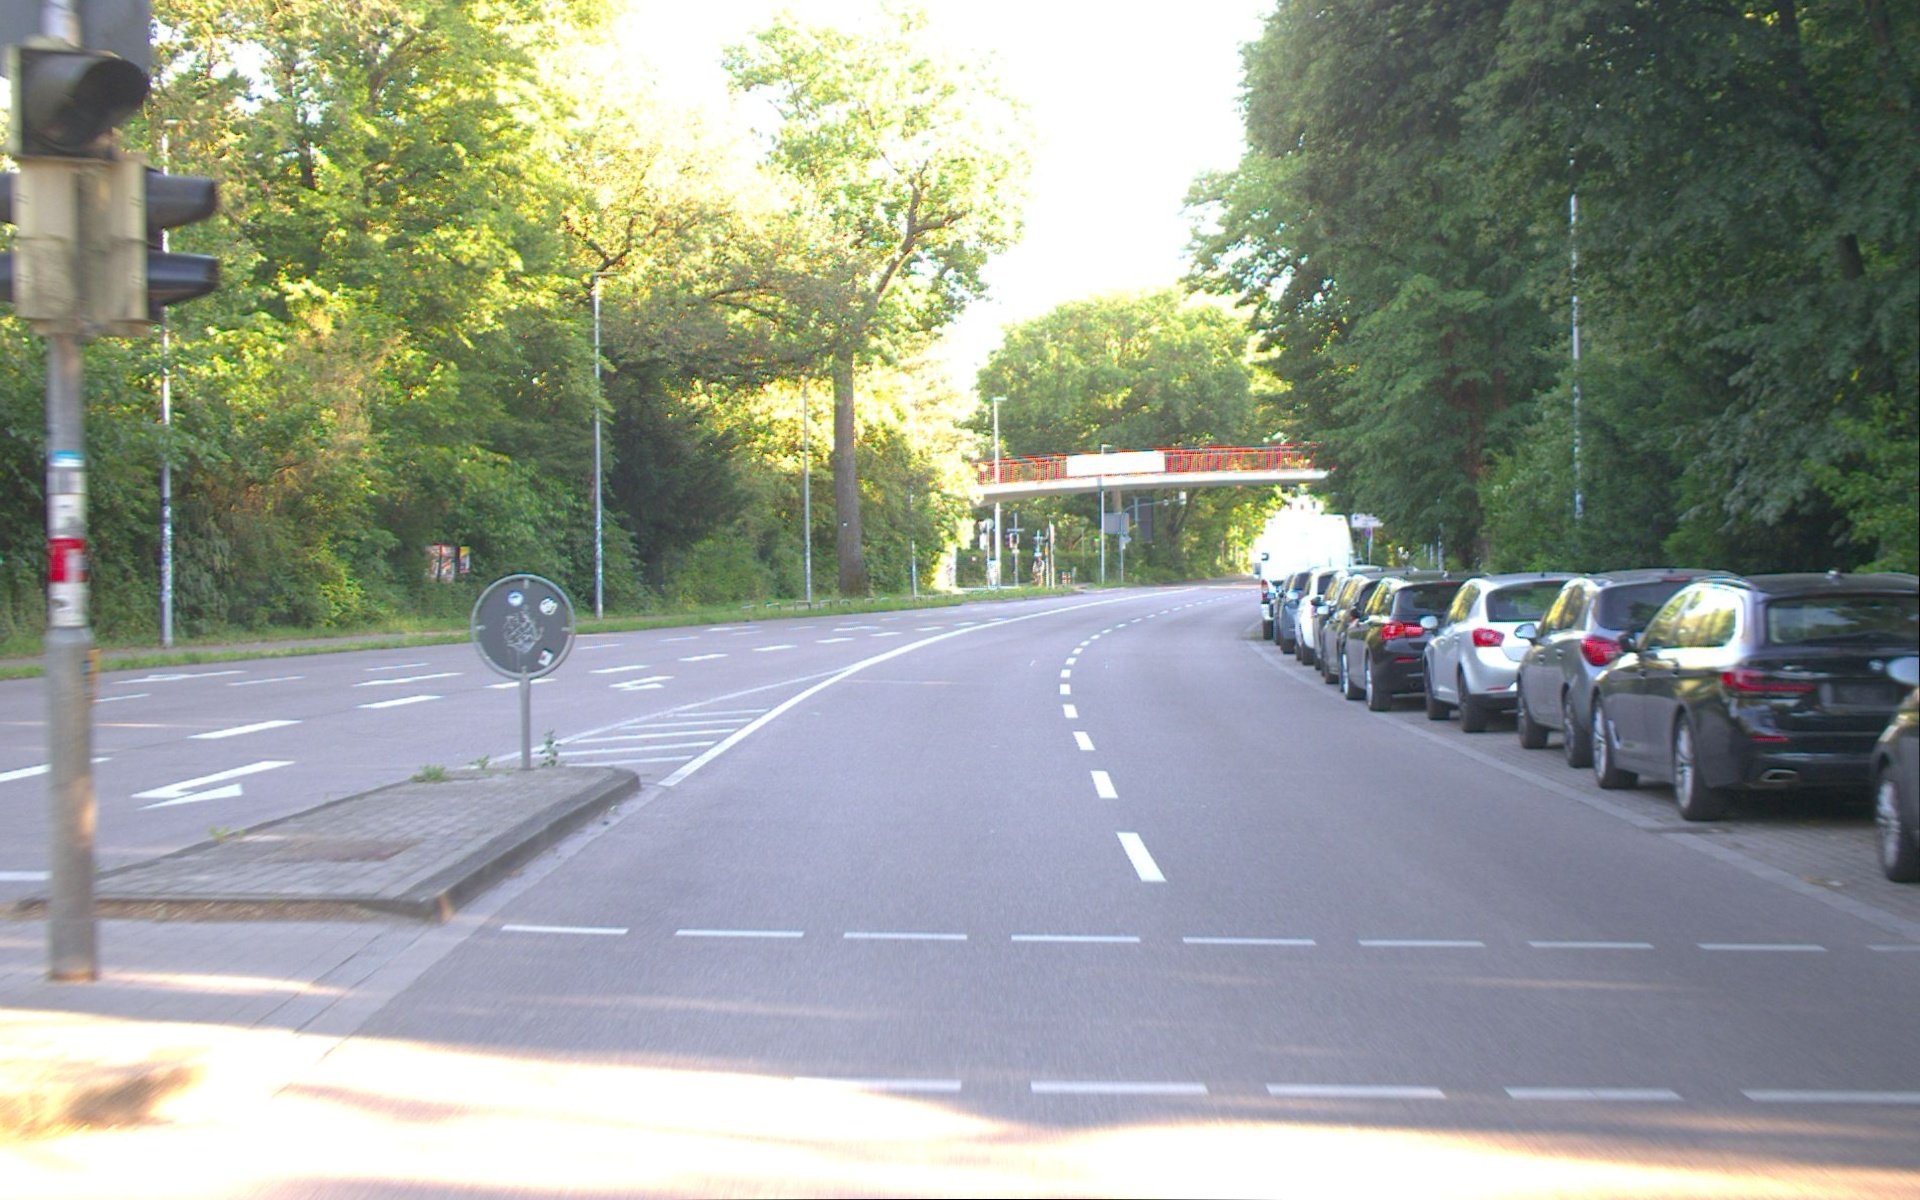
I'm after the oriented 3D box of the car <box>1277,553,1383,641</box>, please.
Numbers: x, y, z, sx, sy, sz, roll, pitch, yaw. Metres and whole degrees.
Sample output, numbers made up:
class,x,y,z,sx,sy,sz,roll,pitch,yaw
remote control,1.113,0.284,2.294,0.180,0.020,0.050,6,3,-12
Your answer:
class,x,y,z,sx,sy,sz,roll,pitch,yaw
car,6.401,-0.066,59.801,1.678,1.459,4.066,-1,0,4

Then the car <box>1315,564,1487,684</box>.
class,x,y,z,sx,sy,sz,roll,pitch,yaw
car,5.479,0.267,43.177,1.718,1.407,4.487,-1,0,2

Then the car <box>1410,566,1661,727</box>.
class,x,y,z,sx,sy,sz,roll,pitch,yaw
car,5.424,0.397,32.846,1.718,1.407,4.124,-1,0,1

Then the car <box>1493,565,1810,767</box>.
class,x,y,z,sx,sy,sz,roll,pitch,yaw
car,5.461,0.474,27.642,1.718,1.464,4.202,-1,0,1

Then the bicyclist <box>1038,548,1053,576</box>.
class,x,y,z,sx,sy,sz,roll,pitch,yaw
bicyclist,4.851,-2.136,194.073,0.712,1.553,1.142,1,0,7

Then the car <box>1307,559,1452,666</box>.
class,x,y,z,sx,sy,sz,roll,pitch,yaw
car,5.865,0.141,48.534,1.718,1.407,4.906,-1,0,4

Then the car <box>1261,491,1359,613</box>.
class,x,y,z,sx,sy,sz,roll,pitch,yaw
car,7.272,-0.988,71.577,1.904,2.415,5.575,-1,0,6

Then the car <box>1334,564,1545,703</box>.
class,x,y,z,sx,sy,sz,roll,pitch,yaw
car,5.200,0.328,37.795,1.718,1.407,4.487,-1,0,1

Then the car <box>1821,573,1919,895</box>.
class,x,y,z,sx,sy,sz,roll,pitch,yaw
car,5.240,0.604,15.644,1.718,1.464,3.756,-1,0,1

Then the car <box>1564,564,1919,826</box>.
class,x,y,z,sx,sy,sz,roll,pitch,yaw
car,5.166,0.519,22.074,1.718,1.464,4.988,-1,0,1

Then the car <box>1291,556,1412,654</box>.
class,x,y,z,sx,sy,sz,roll,pitch,yaw
car,6.119,0.058,54.003,1.677,1.459,3.688,-1,0,4
